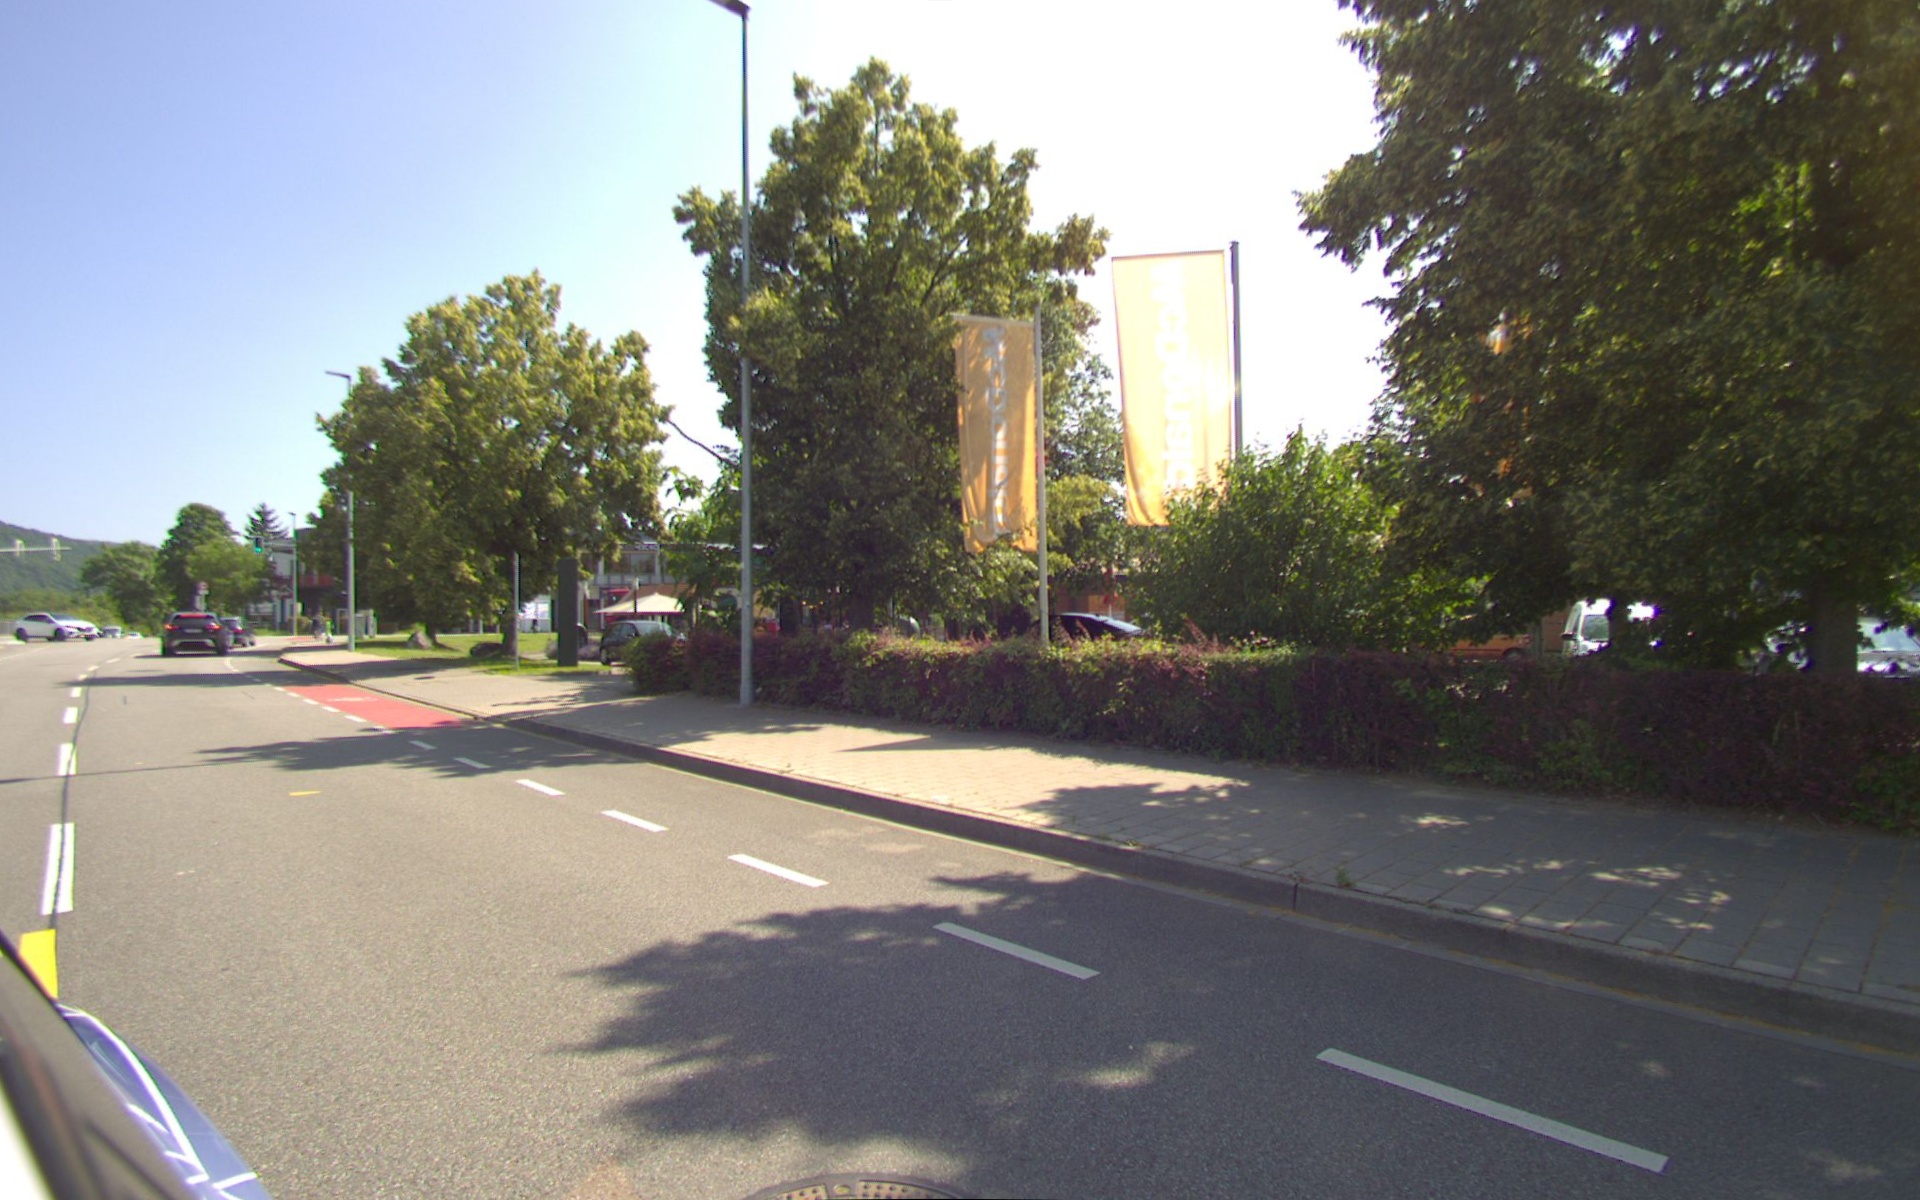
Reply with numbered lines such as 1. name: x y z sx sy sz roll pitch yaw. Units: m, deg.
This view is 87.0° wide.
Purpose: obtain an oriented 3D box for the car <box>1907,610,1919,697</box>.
1. car: 16.999 0.900 16.431 1.737 1.538 3.953 -2 -2 34

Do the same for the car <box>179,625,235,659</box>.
1. car: -32.555 1.791 43.824 1.633 1.391 4.011 1 -2 -32

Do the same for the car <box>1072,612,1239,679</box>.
1. car: 5.396 1.239 28.023 4.226 1.748 1.703 -1 -2 26

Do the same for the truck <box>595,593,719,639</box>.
1. truck: -23.304 1.258 78.160 9.012 3.412 3.324 0 -2 -16

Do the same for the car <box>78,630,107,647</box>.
1. car: -78.469 3.484 91.598 1.646 1.544 4.009 1 -2 -36

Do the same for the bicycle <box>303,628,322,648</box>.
1. bicycle: -37.819 2.224 59.143 0.687 1.113 1.761 2 -3 -26

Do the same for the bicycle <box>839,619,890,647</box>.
1. bicycle: -3.477 1.199 36.757 1.827 1.000 0.309 0 -2 -13

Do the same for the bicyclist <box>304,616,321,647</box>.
1. bicyclist: -37.806 1.853 59.084 0.700 1.802 0.811 0 -2 -26

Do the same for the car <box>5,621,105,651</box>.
1. car: -53.932 2.168 60.365 4.580 1.732 1.994 -1 -2 9

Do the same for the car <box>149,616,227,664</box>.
1. car: -29.104 1.497 38.297 1.923 1.708 4.626 1 -2 -32

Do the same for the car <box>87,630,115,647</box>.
1. car: -81.316 3.618 95.814 1.646 1.544 4.009 1 -2 -36

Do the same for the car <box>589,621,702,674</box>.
1. car: -10.109 1.482 32.346 1.837 1.564 4.192 1 -2 -43

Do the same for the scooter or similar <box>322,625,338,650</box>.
1. scooter or similar: -30.169 1.798 48.468 0.465 1.193 1.370 0 -2 -25

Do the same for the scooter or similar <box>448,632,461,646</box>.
1. scooter or similar: -40.376 3.107 80.825 0.493 1.132 1.506 0 -2 -6

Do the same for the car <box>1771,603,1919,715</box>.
1. car: 13.553 0.820 15.114 1.889 1.471 3.953 -2 -2 34

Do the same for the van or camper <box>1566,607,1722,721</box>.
1. van or camper: 11.895 1.042 17.875 1.993 1.753 4.239 -1 -2 31

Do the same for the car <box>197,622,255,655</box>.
1. car: -35.660 1.851 49.266 1.755 1.508 4.737 0 -2 -29

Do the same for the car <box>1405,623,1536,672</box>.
1. car: 15.248 1.403 30.257 3.335 1.386 1.573 -1 -2 34
